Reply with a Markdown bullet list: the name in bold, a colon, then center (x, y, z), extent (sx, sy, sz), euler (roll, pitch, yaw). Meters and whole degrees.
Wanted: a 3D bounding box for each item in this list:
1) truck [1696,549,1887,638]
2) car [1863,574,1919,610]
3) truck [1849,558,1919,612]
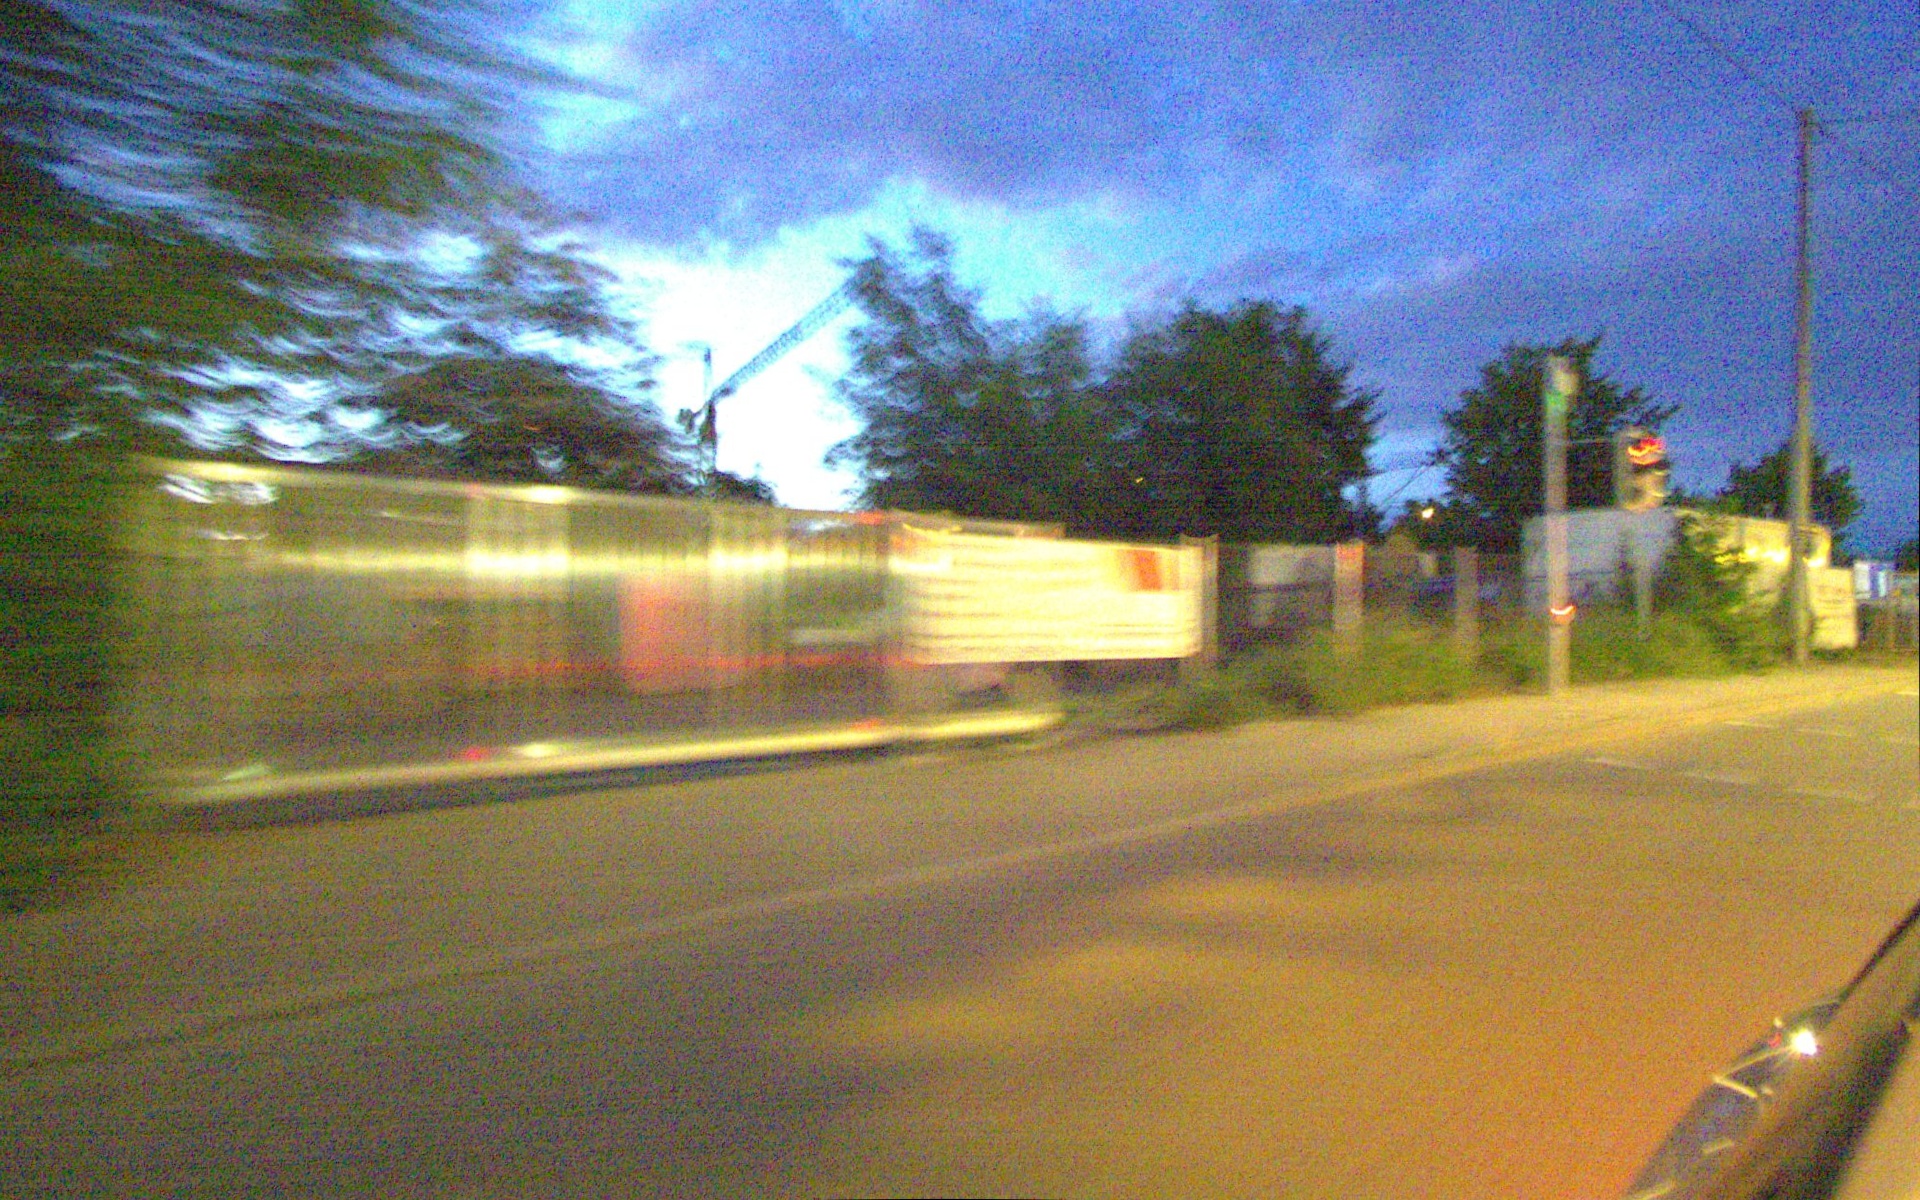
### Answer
- **truck**: center (25.250, -0.199, 30.640), extent (7.171, 2.454, 2.192), euler (0, -1, -31)
- **car**: center (49.917, -0.410, 51.831), extent (1.949, 1.859, 5.095), euler (-1, 0, -30)
- **truck**: center (48.010, -0.761, 50.119), extent (2.425, 2.632, 5.550), euler (0, 0, -34)
